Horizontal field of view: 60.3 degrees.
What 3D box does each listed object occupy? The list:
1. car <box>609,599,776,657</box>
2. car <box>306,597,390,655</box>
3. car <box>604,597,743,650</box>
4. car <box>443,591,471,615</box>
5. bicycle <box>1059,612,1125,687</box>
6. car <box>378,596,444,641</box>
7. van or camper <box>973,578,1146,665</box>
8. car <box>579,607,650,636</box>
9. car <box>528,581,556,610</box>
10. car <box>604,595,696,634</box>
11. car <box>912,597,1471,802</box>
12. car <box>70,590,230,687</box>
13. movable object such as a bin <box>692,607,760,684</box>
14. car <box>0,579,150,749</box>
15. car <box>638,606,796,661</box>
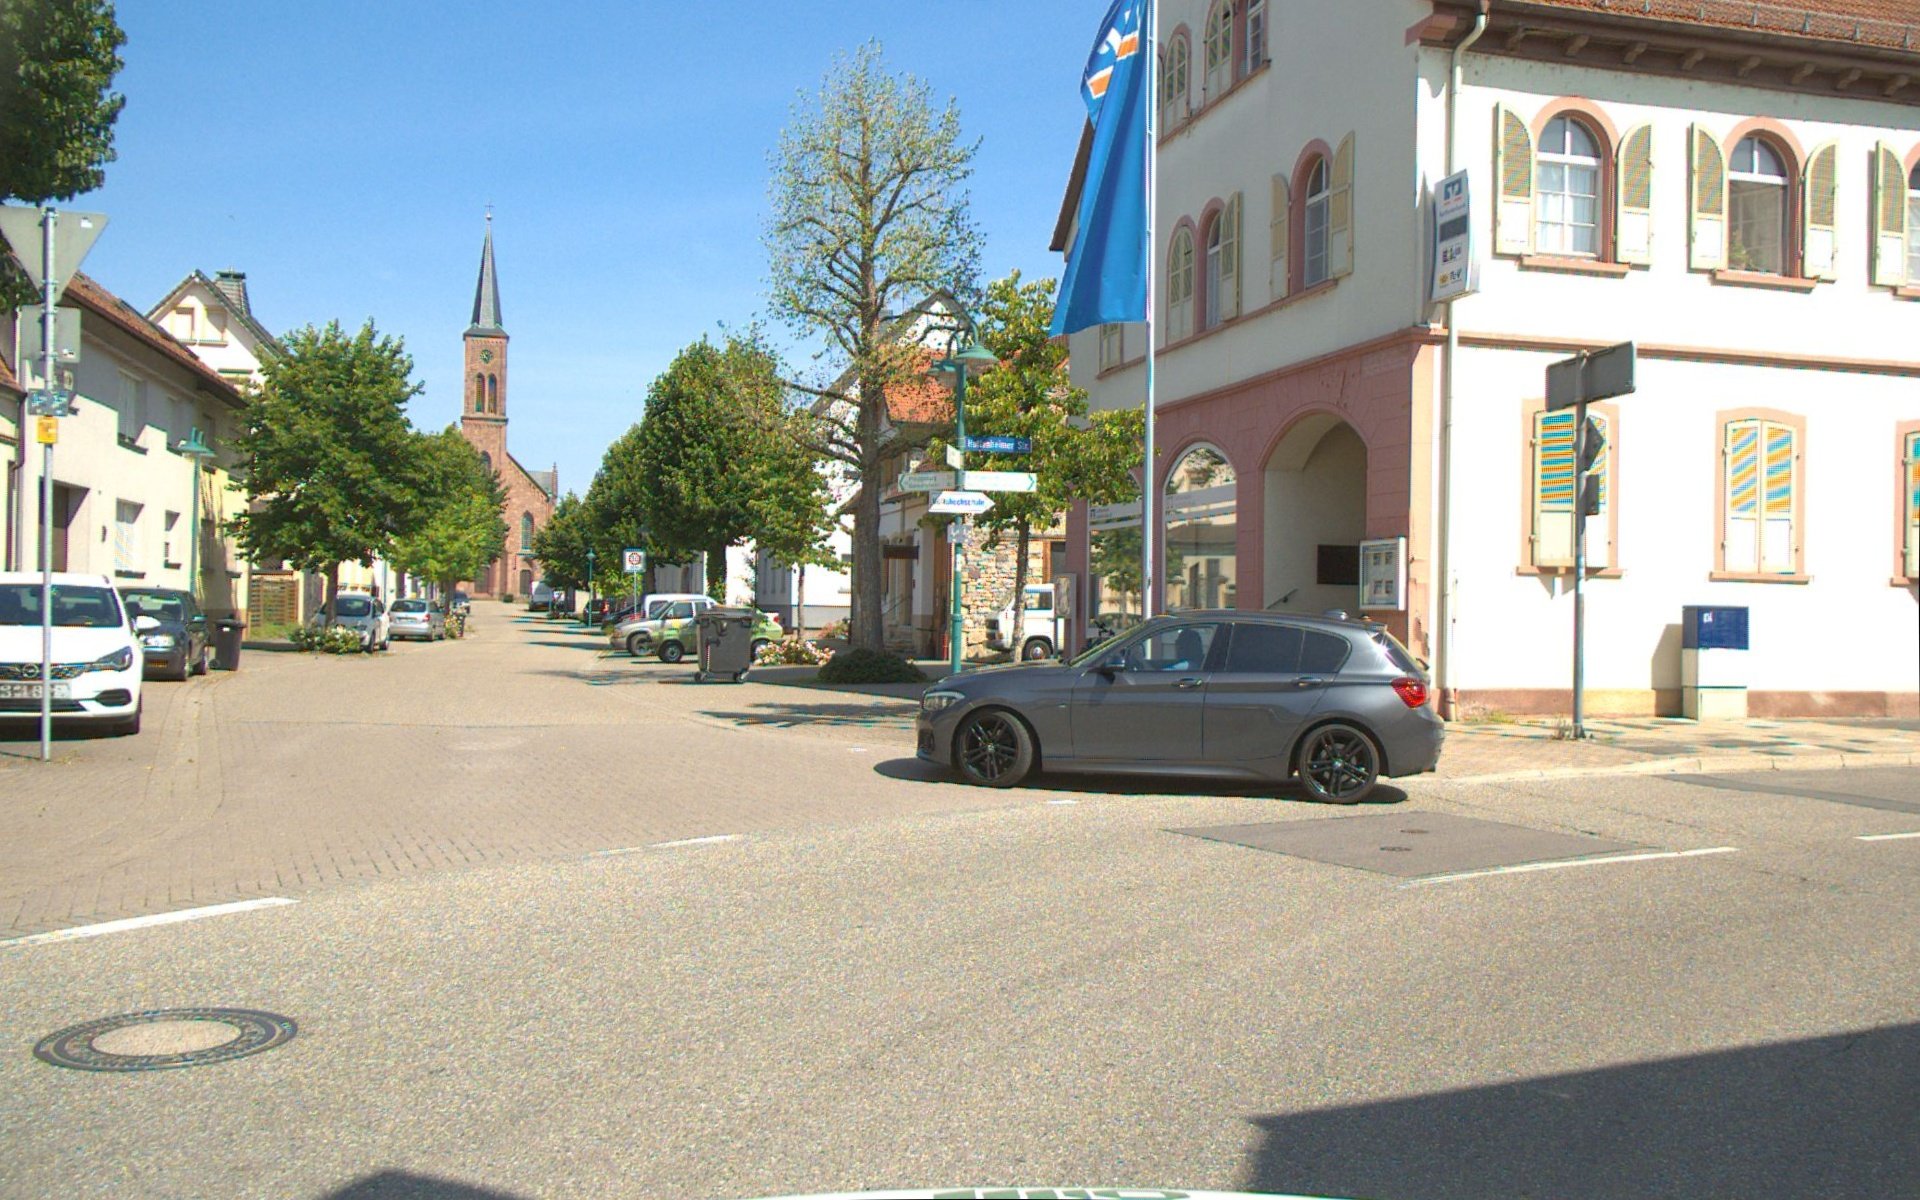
[{"bbox_3d":[-7.947,0.825,49.039,4.724,1.652,1.992,0,0,-16],"label":"car"},{"bbox_3d":[-17.566,0.714,47.608,1.961,1.601,3.982,1,0,-16],"label":"car"},{"bbox_3d":[-8.949,0.714,51.557,4.082,1.596,1.992,0,0,-16],"label":"car"},{"bbox_3d":[-38.476,0.220,126.470,1.963,1.847,3.979,0,0,-19],"label":"car"},{"bbox_3d":[2.103,0.778,26.591,0.583,1.155,1.743,1,0,-12],"label":"bicycle"},{"bbox_3d":[-19.496,0.624,58.660,1.965,1.489,3.974,2,0,-22],"label":"car"},{"bbox_3d":[2.390,0.517,40.358,3.911,2.049,1.997,1,0,-7],"label":"van or camper"},{"bbox_3d":[-20.180,1.275,96.595,3.924,1.646,1.990,1,0,-17],"label":"car"},{"bbox_3d":[-36.280,-0.361,143.532,2.208,2.318,4.484,2,-1,-15],"label":"car"},{"bbox_3d":[-13.889,0.639,74.004,3.922,1.668,1.992,1,0,-16],"label":"car"},{"bbox_3d":[1.827,0.735,13.408,4.164,1.400,1.743,2,0,8],"label":"car"},{"bbox_3d":[-13.400,0.574,27.636,1.956,1.466,5.177,0,0,-21],"label":"car"},{"bbox_3d":[-4.251,0.824,30.029,1.167,1.361,0.787,0,0,-12],"label":"movable object such as a bin"},{"bbox_3d":[-9.041,0.545,16.375,1.827,1.466,4.474,0,0,-26],"label":"car"},{"bbox_3d":[-6.324,0.863,42.848,3.859,1.368,1.992,0,0,-16],"label":"car"}]
